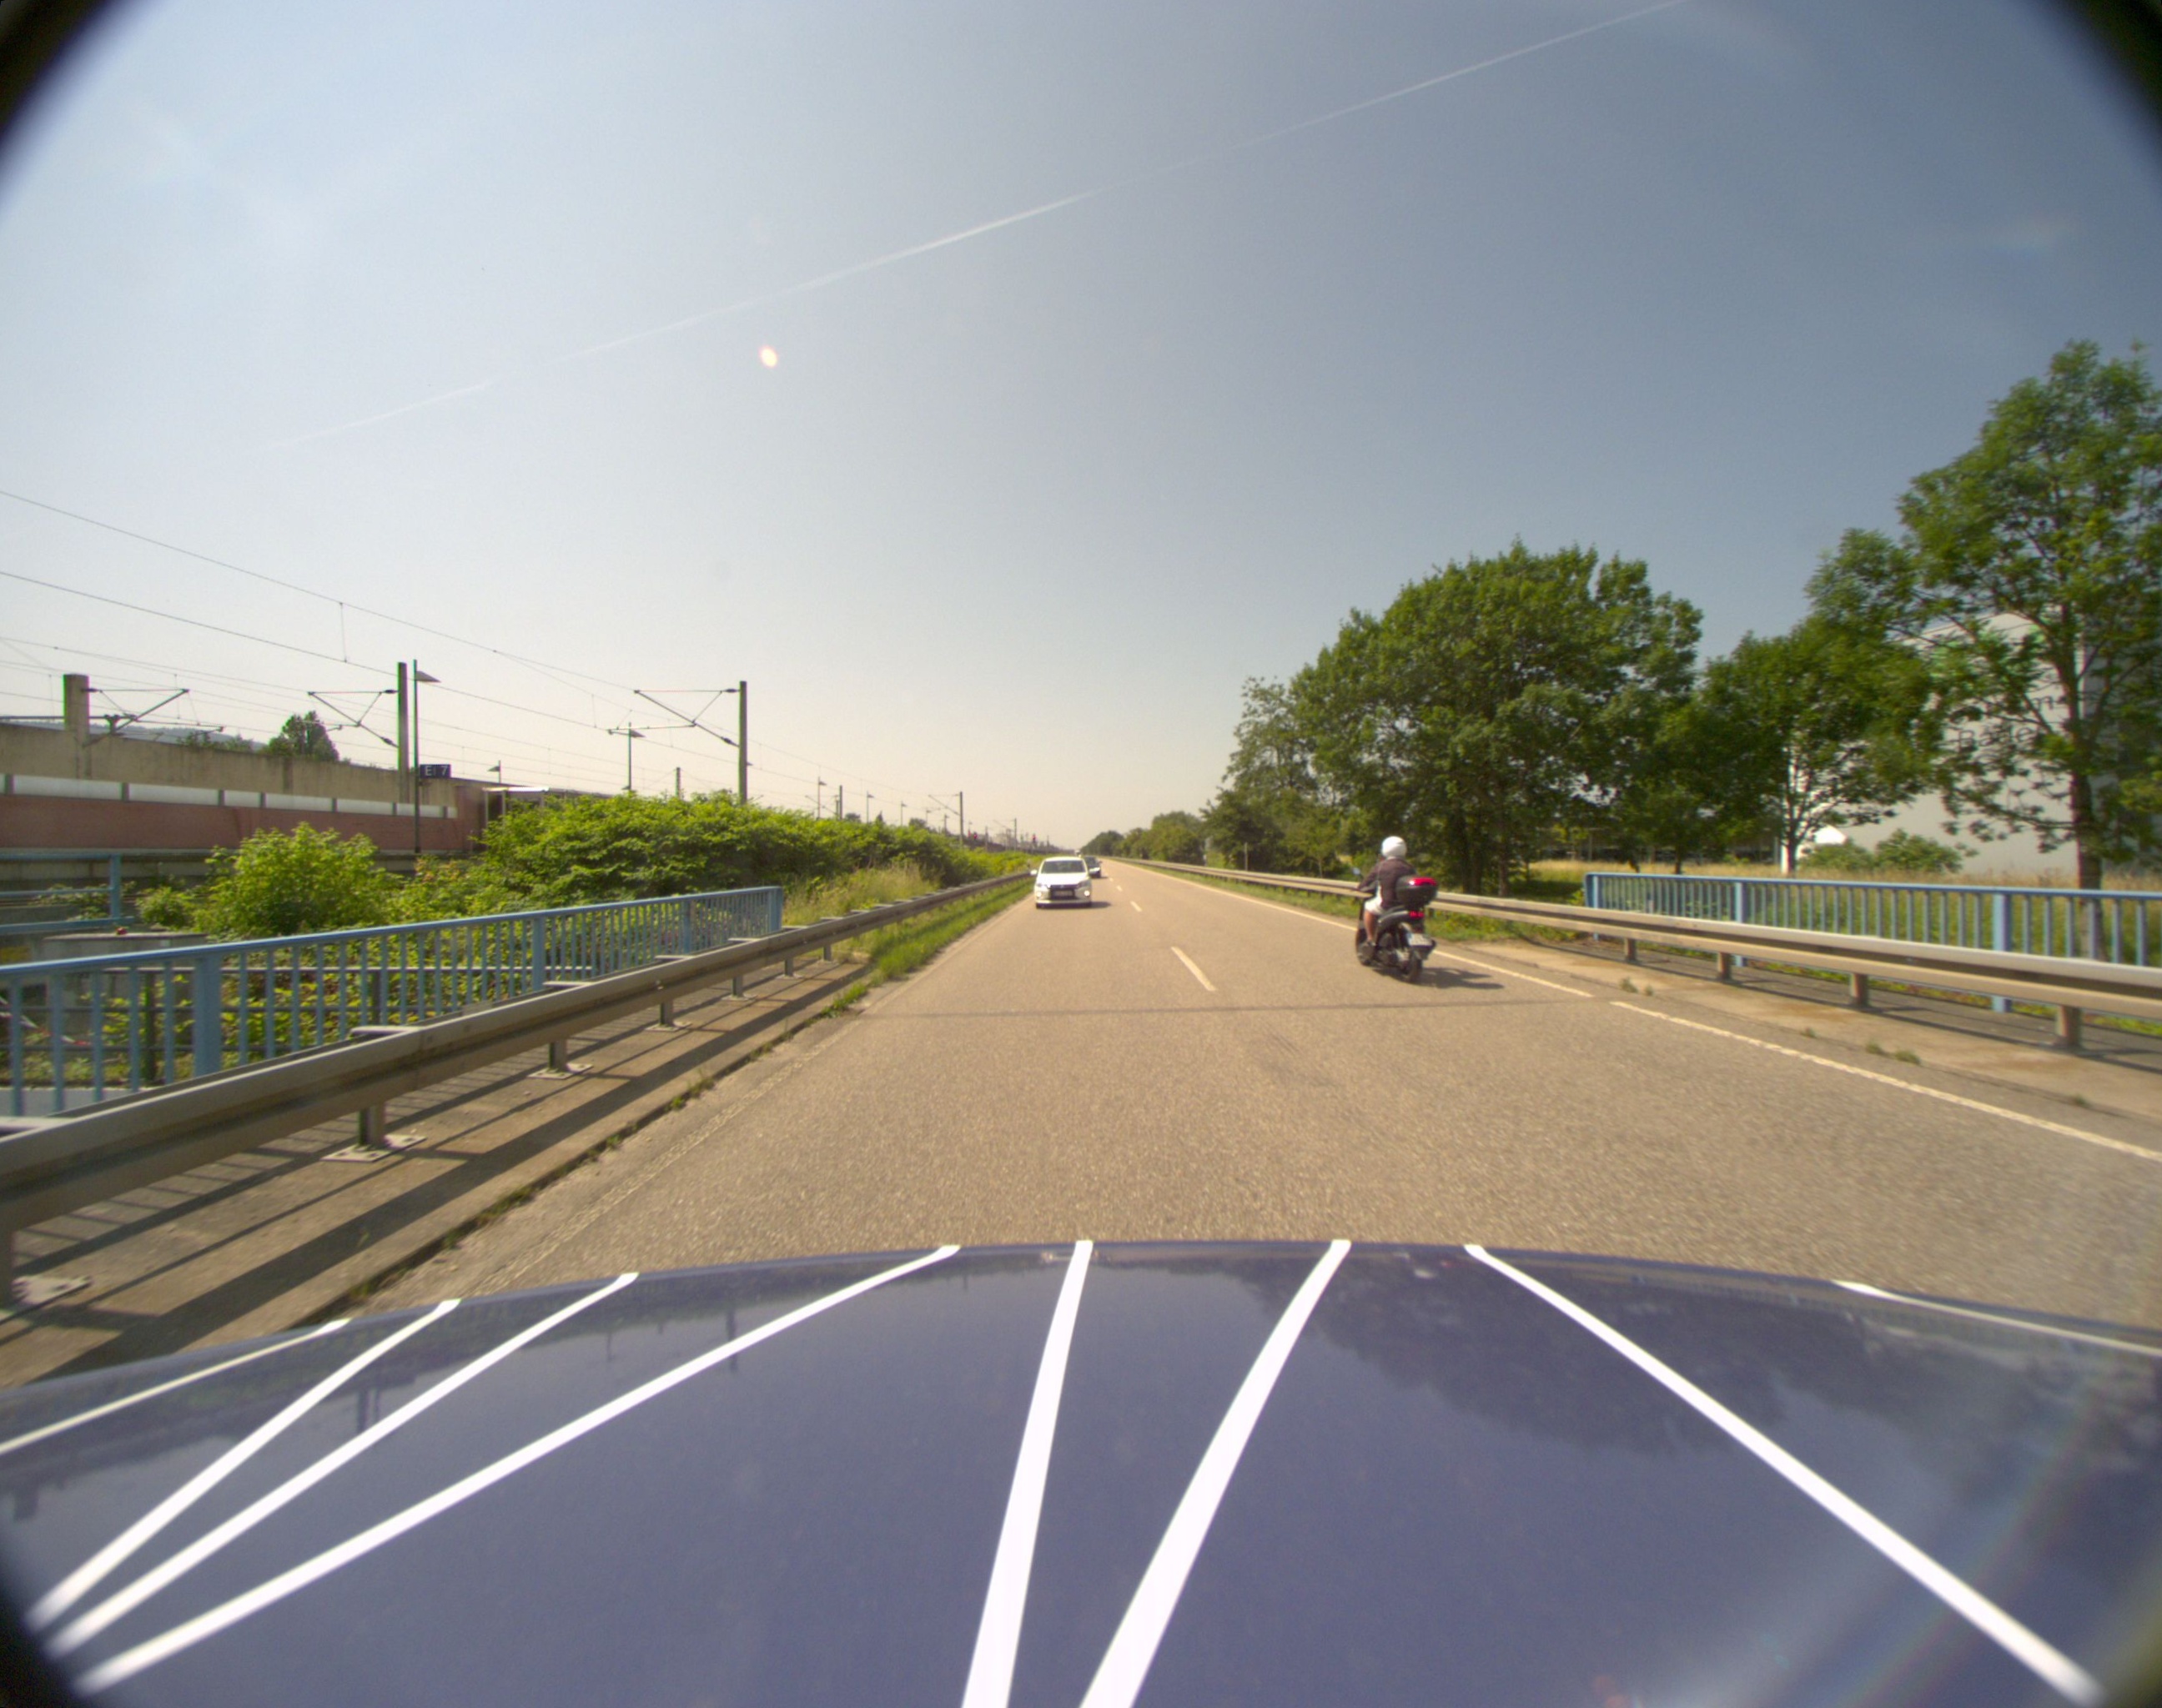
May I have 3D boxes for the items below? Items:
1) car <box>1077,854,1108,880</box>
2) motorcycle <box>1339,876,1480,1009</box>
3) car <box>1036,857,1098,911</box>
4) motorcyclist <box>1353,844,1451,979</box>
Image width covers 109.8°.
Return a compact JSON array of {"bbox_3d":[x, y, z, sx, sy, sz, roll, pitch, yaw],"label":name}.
[{"bbox_3d":[0.675,0.773,46.779,1.711,1.470,4.154,-1,0,-2],"label":"car"},{"bbox_3d":[3.662,0.912,8.722,0.690,1.227,2.370,-2,0,3],"label":"motorcycle"},{"bbox_3d":[-0.448,0.859,23.375,1.701,1.470,4.154,-1,0,-2],"label":"car"},{"bbox_3d":[3.651,0.622,8.711,0.728,1.456,0.987,-1,1,3],"label":"motorcyclist"}]
